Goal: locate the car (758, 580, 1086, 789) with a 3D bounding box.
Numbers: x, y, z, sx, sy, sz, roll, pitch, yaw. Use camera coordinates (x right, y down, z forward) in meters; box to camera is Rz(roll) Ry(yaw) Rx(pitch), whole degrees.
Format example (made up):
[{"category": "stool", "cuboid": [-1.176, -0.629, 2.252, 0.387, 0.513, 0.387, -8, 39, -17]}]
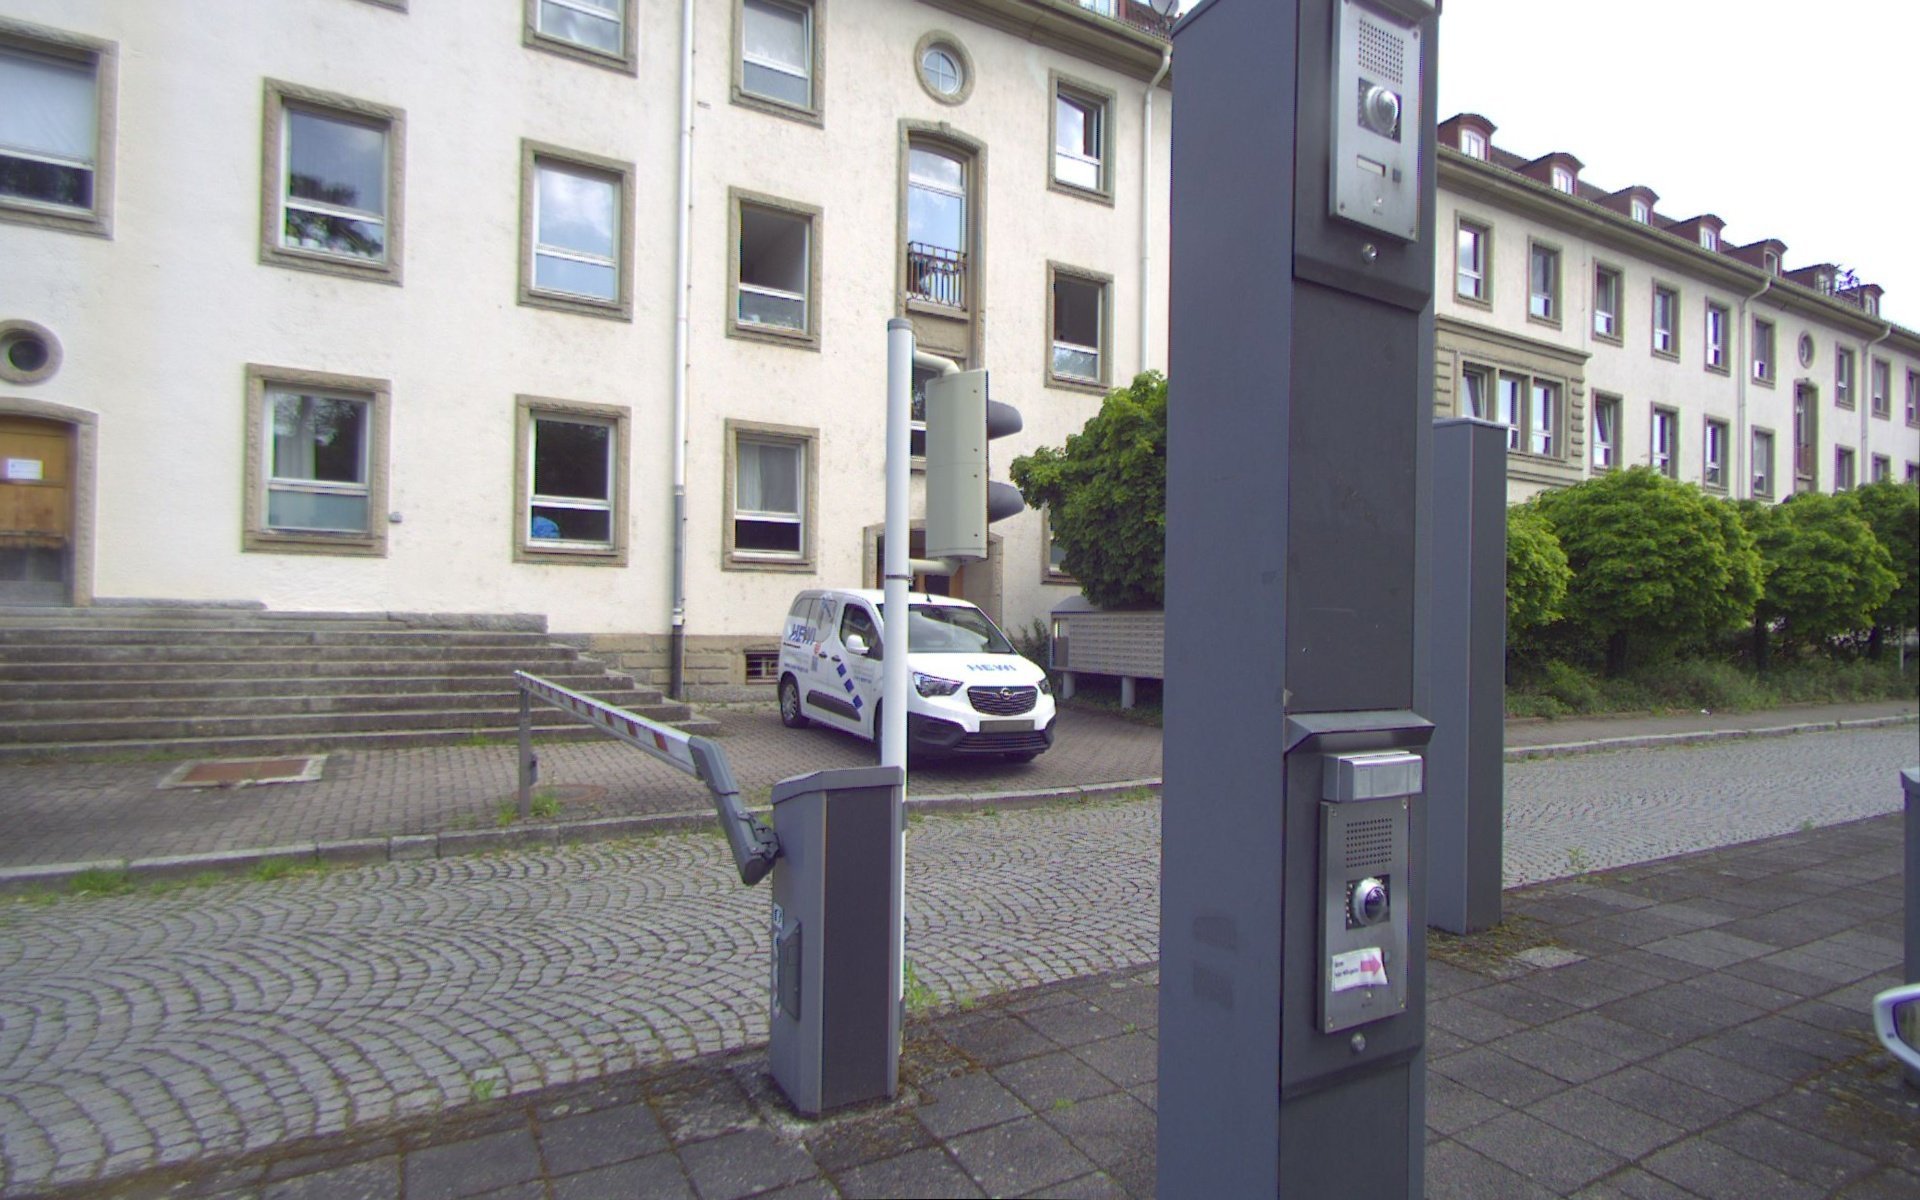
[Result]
[{"category": "car", "cuboid": [-0.673, 0.765, 11.682, 1.838, 1.775, 4.411, 1, 3, -32]}]
